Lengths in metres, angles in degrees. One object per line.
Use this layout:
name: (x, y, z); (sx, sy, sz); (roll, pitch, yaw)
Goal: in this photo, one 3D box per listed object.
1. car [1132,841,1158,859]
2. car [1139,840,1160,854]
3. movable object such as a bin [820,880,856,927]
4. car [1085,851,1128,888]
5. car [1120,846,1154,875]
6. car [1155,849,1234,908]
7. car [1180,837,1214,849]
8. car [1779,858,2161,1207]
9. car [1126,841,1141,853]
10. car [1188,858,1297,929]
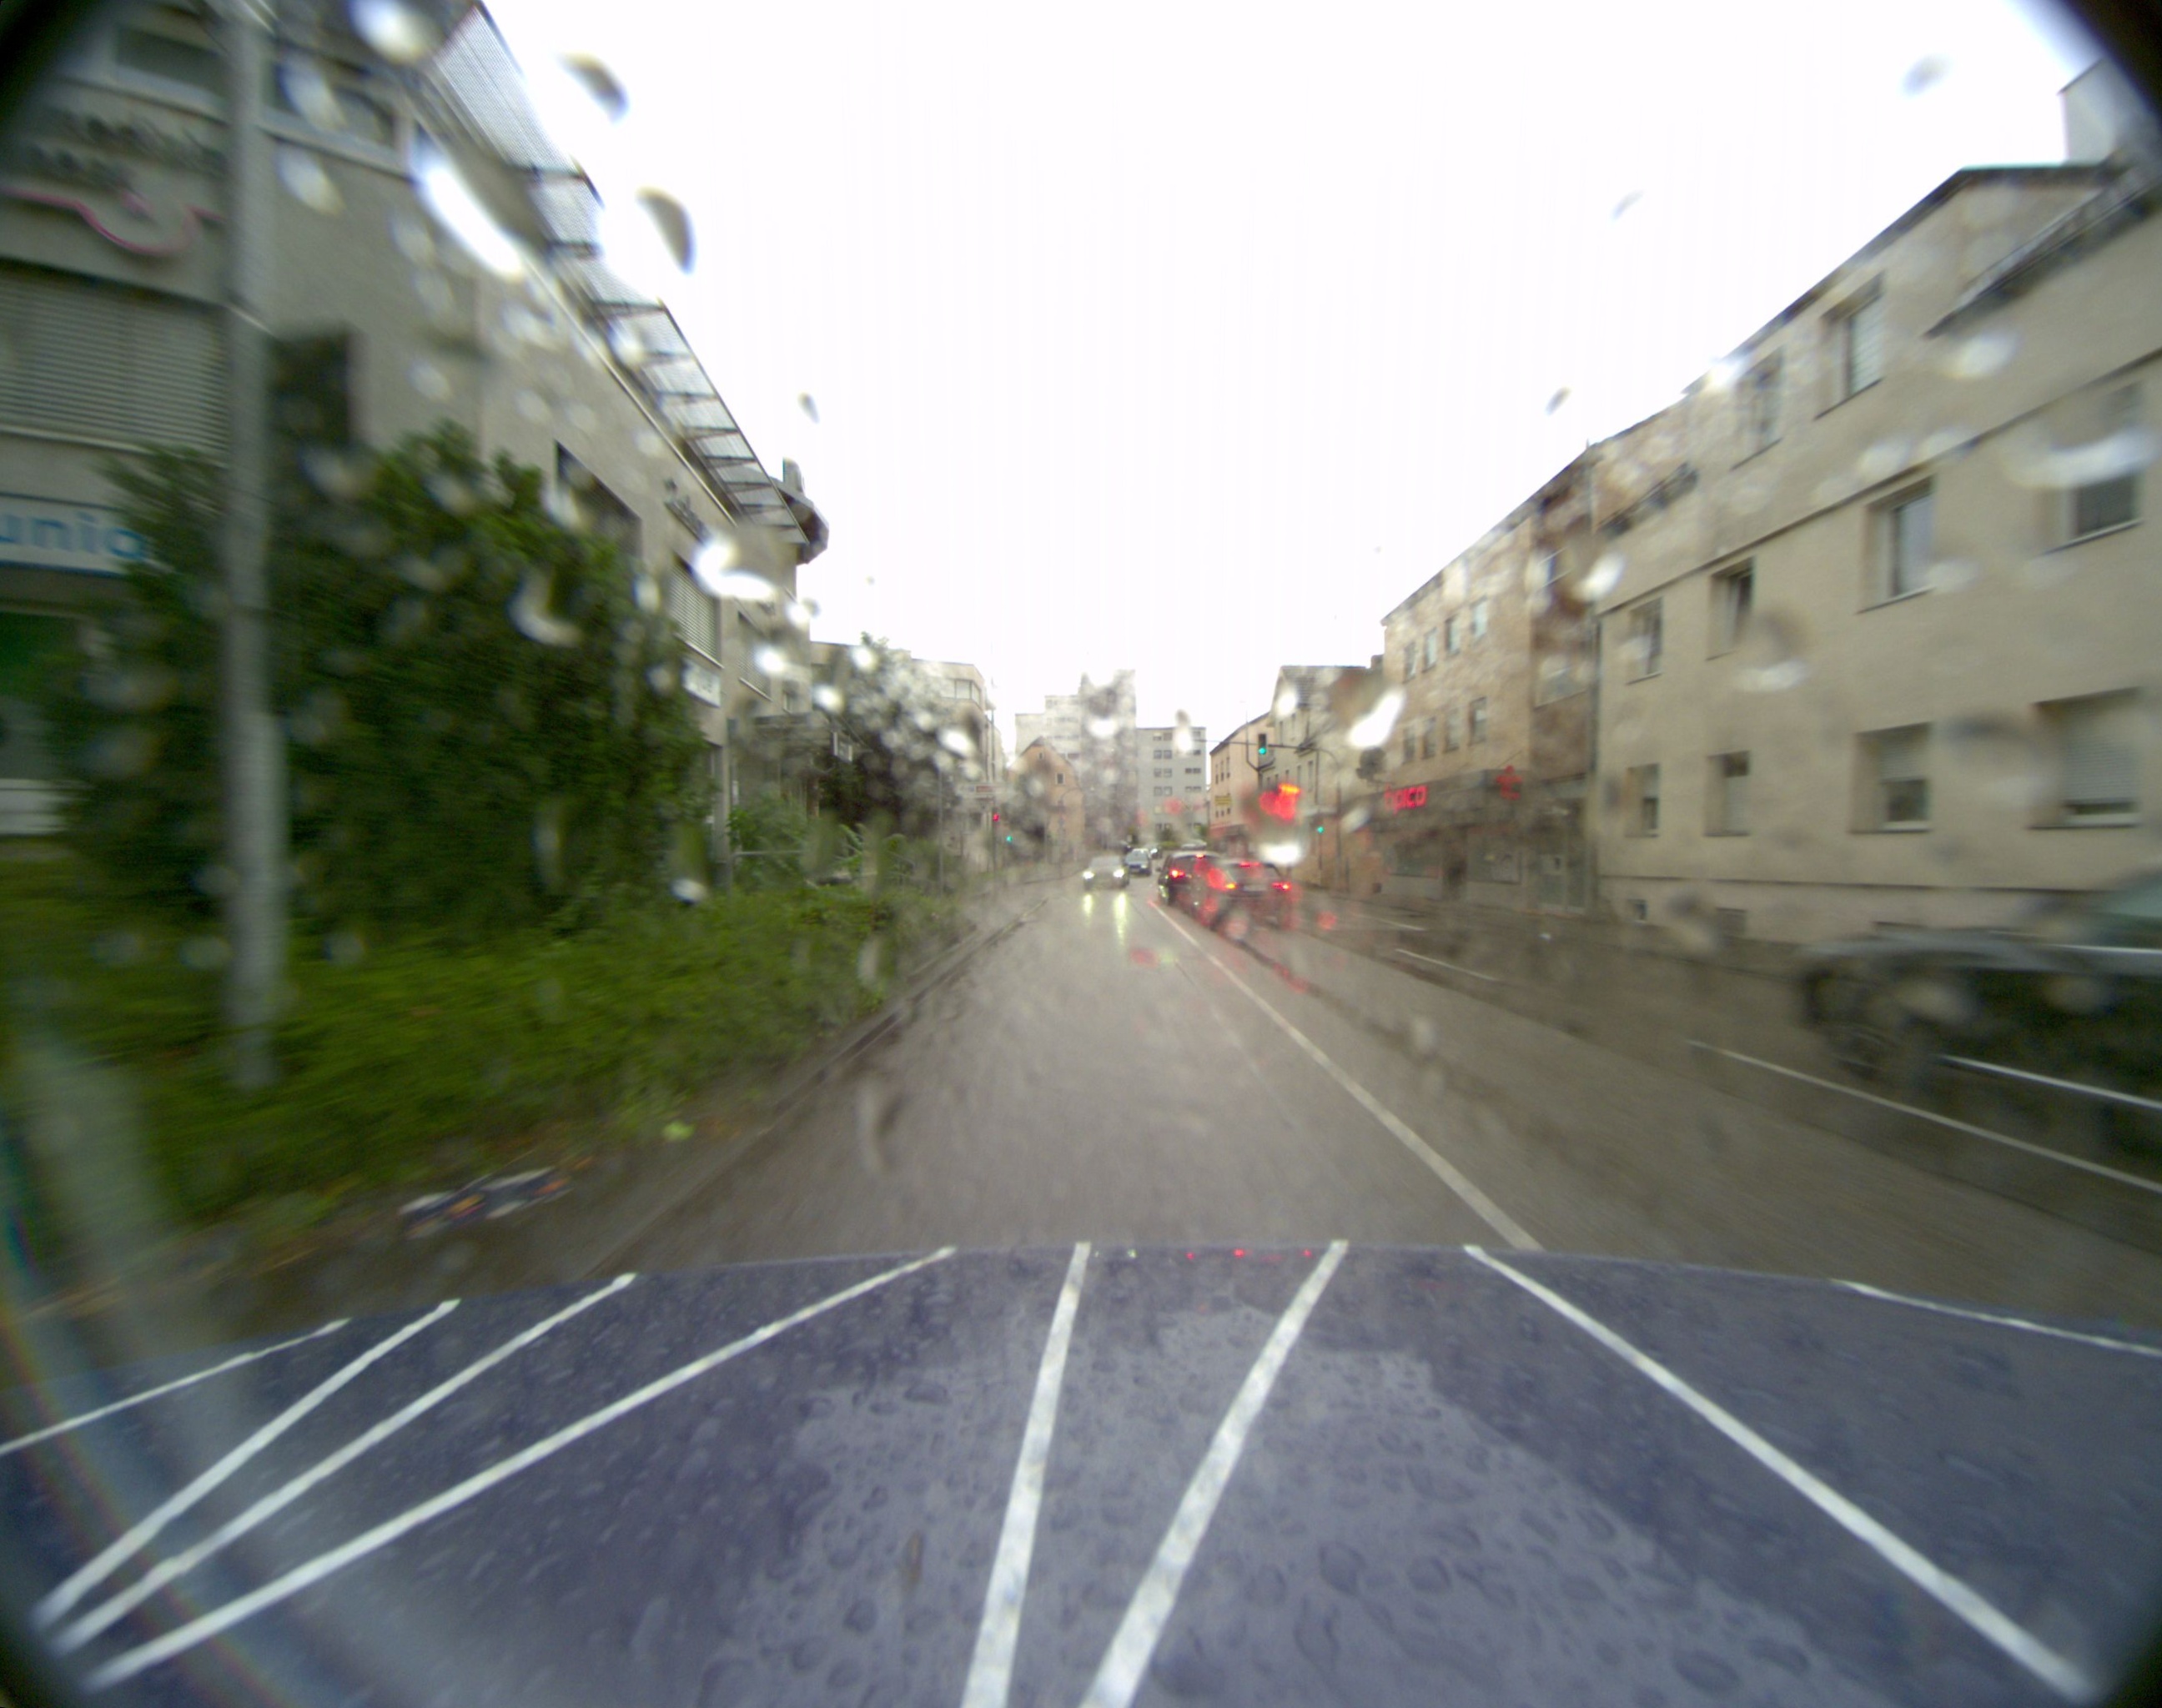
car: (5.276, -0.306, 62.236); (1.685, 1.413, 4.003); (-1, 0, 11)
car: (7.319, -0.778, 80.959); (1.685, 1.452, 4.003); (-1, 0, 12)
movable object such as a bin: (-4.743, 0.970, 14.837); (0.482, 0.904, 0.492); (-1, -3, 12)
car: (1.155, 0.685, 35.427); (1.820, 1.562, 4.275); (-1, 0, 1)
car: (3.501, 0.386, 47.587); (1.998, 1.652, 4.001); (-1, 0, 4)
car: (3.429, 0.701, 23.610); (1.820, 1.635, 4.275); (-1, 0, 0)
car: (14.639, -1.395, 95.932); (4.006, 1.452, 1.683); (-1, 1, -31)
car: (5.797, 0.825, 3.239); (1.820, 1.562, 4.276); (0, 0, 3)
car: (6.406, -0.882, 93.438); (1.686, 1.452, 4.000); (-1, 0, 2)
car: (3.514, 0.804, 17.137); (1.711, 1.375, 3.669); (-1, 0, 1)
